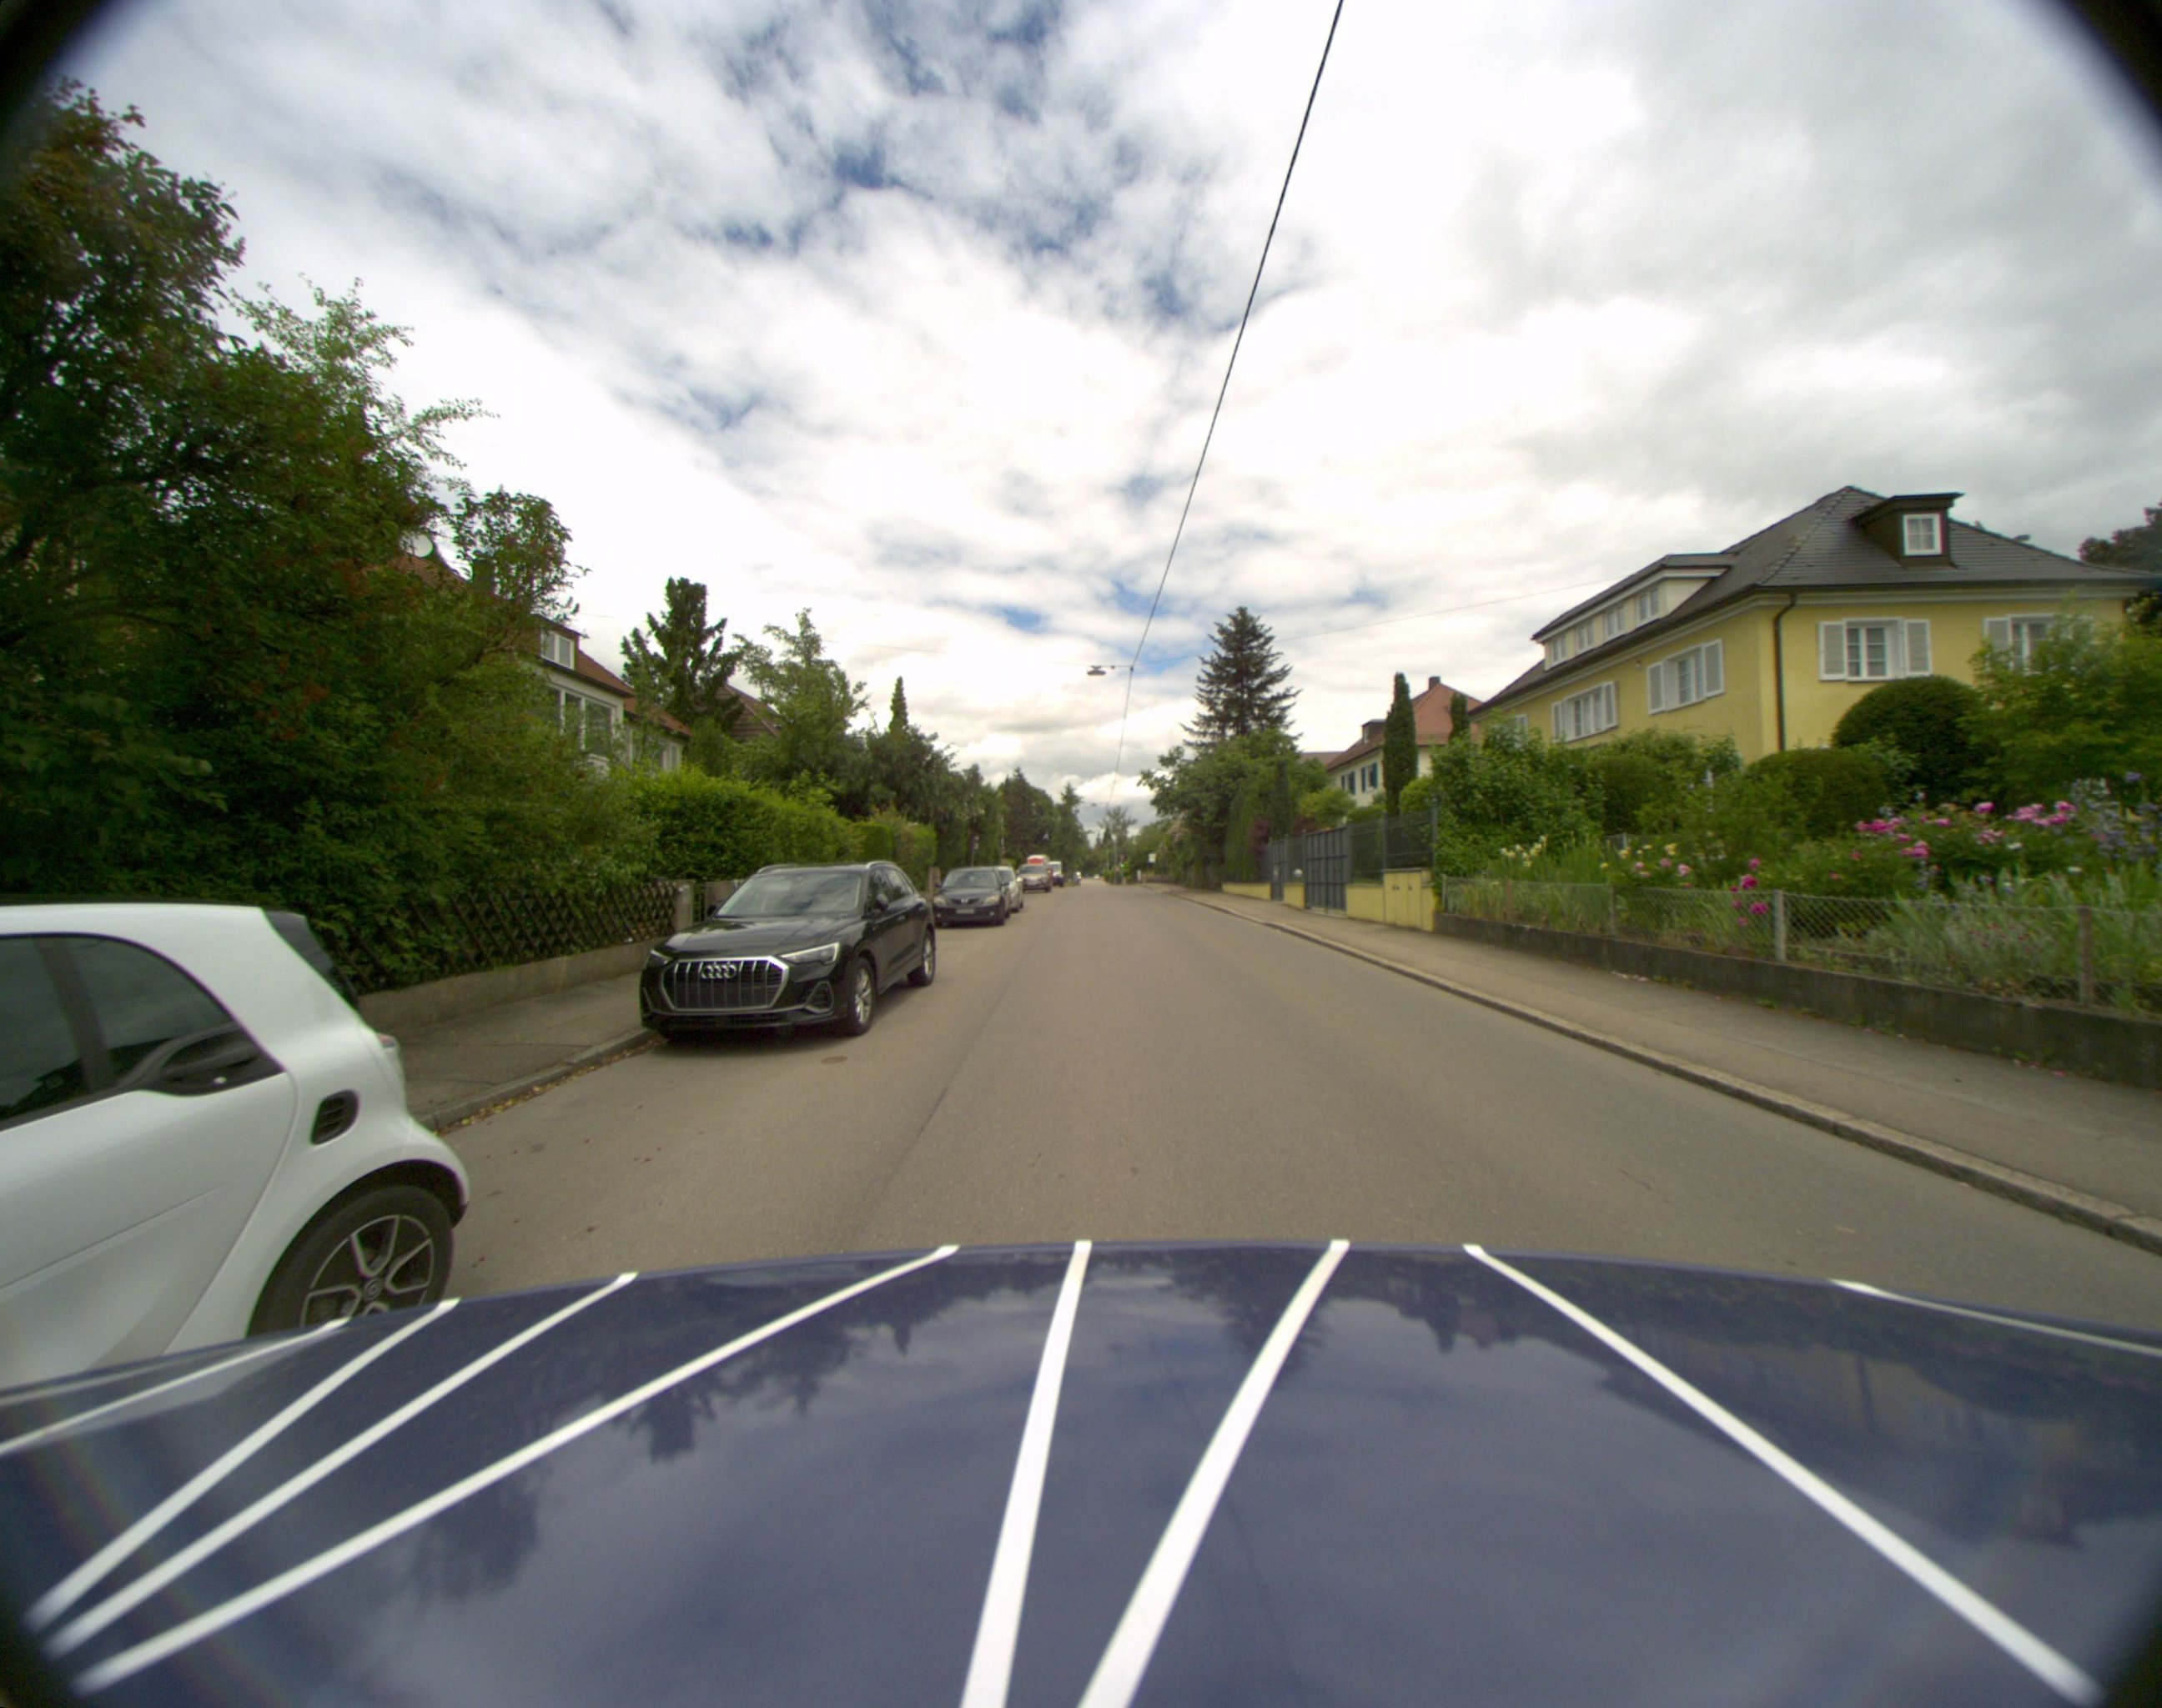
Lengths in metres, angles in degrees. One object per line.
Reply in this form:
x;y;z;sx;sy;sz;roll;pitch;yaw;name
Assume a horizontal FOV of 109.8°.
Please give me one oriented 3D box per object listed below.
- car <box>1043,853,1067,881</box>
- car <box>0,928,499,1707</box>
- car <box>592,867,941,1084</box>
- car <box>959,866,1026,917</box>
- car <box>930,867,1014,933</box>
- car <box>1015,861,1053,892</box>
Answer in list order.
-2.133;1.064;64.170;1.854;2.211;5.367;-3;0;-1;car
-3.003;1.032;1.314;1.602;1.501;3.013;-1;0;1;car
-2.842;0.992;8.010;1.805;1.582;4.141;-1;0;2;car
-2.788;1.148;24.820;1.761;1.468;4.357;-1;0;-2;car
-2.734;1.111;19.838;1.721;1.451;4.140;-1;0;-2;car
-2.648;1.276;43.564;1.878;1.622;4.127;-2;-2;0;car
